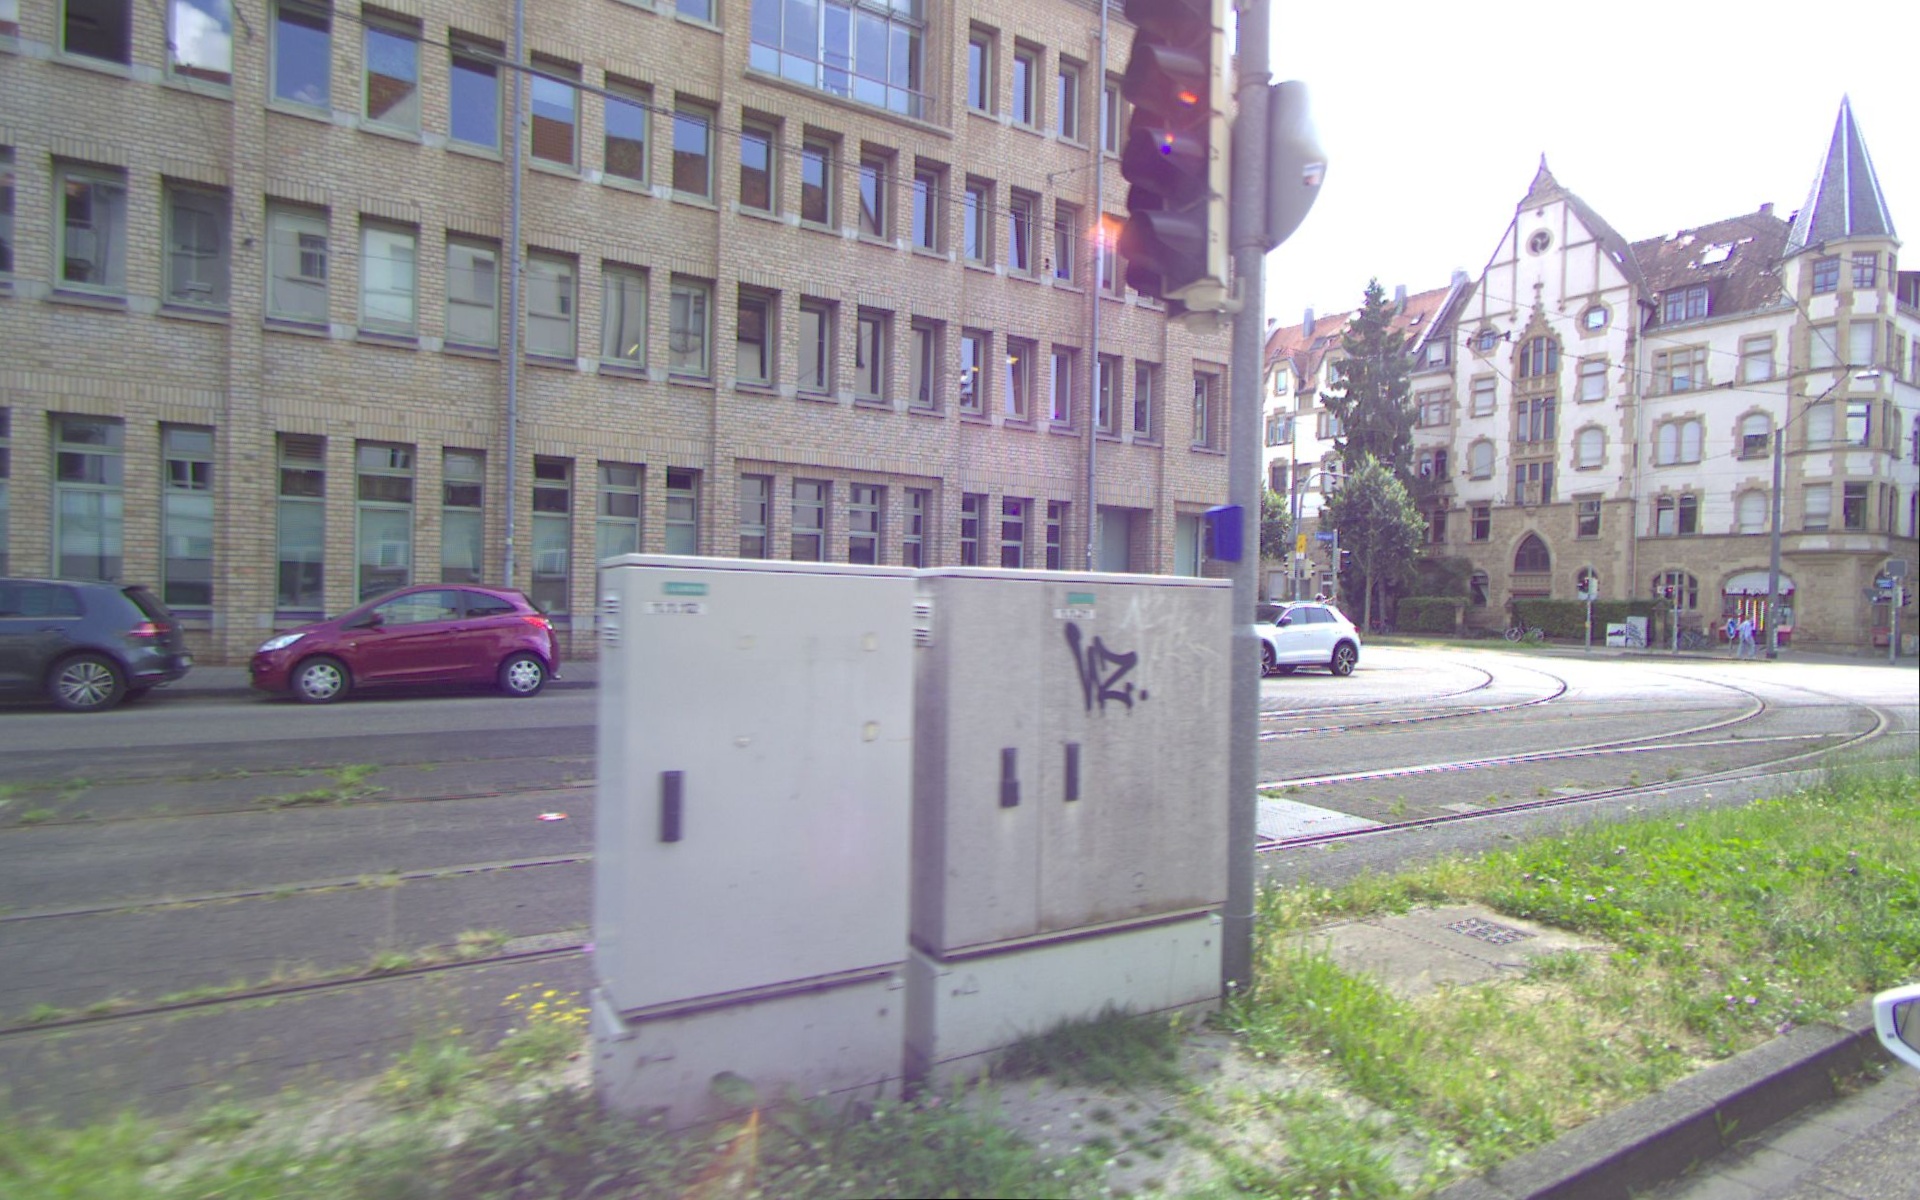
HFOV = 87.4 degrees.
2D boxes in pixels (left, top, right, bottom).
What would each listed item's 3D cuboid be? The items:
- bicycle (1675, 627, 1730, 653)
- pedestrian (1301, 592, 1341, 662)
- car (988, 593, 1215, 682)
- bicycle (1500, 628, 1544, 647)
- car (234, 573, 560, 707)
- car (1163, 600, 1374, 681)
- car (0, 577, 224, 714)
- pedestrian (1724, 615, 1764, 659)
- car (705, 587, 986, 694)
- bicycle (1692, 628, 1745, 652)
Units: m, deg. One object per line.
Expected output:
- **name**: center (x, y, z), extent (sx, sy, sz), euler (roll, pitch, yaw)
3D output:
- **bicycle**: center (34.198, 1.838, 46.301), extent (0.772, 1.095, 1.900), euler (2, -1, -40)
- **pedestrian**: center (9.768, 0.720, 27.190), extent (0.750, 1.819, 0.957), euler (2, 0, 35)
- **car**: center (2.729, 0.695, 19.289), extent (3.966, 1.551, 1.924), euler (2, 0, -29)
- **bicycle**: center (28.231, 1.870, 50.474), extent (0.467, 0.859, 1.900), euler (2, -1, -40)
- **car**: center (-7.240, 0.497, 13.199), extent (3.506, 1.551, 1.576), euler (2, 0, -29)
- **car**: center (6.598, 0.841, 21.441), extent (4.206, 1.555, 1.924), euler (2, 0, -29)
- **car**: center (-10.807, 0.445, 10.983), extent (4.188, 1.415, 1.924), euler (2, 0, -29)
- **pedestrian**: center (31.733, 1.488, 40.665), extent (1.003, 1.745, 0.776), euler (2, 0, 16)
- **car**: center (-1.829, 0.622, 16.360), extent (4.159, 1.551, 1.843), euler (2, 0, -29)
- **bicycle**: center (36.066, 1.903, 47.779), extent (0.772, 1.095, 1.900), euler (2, -1, -40)
